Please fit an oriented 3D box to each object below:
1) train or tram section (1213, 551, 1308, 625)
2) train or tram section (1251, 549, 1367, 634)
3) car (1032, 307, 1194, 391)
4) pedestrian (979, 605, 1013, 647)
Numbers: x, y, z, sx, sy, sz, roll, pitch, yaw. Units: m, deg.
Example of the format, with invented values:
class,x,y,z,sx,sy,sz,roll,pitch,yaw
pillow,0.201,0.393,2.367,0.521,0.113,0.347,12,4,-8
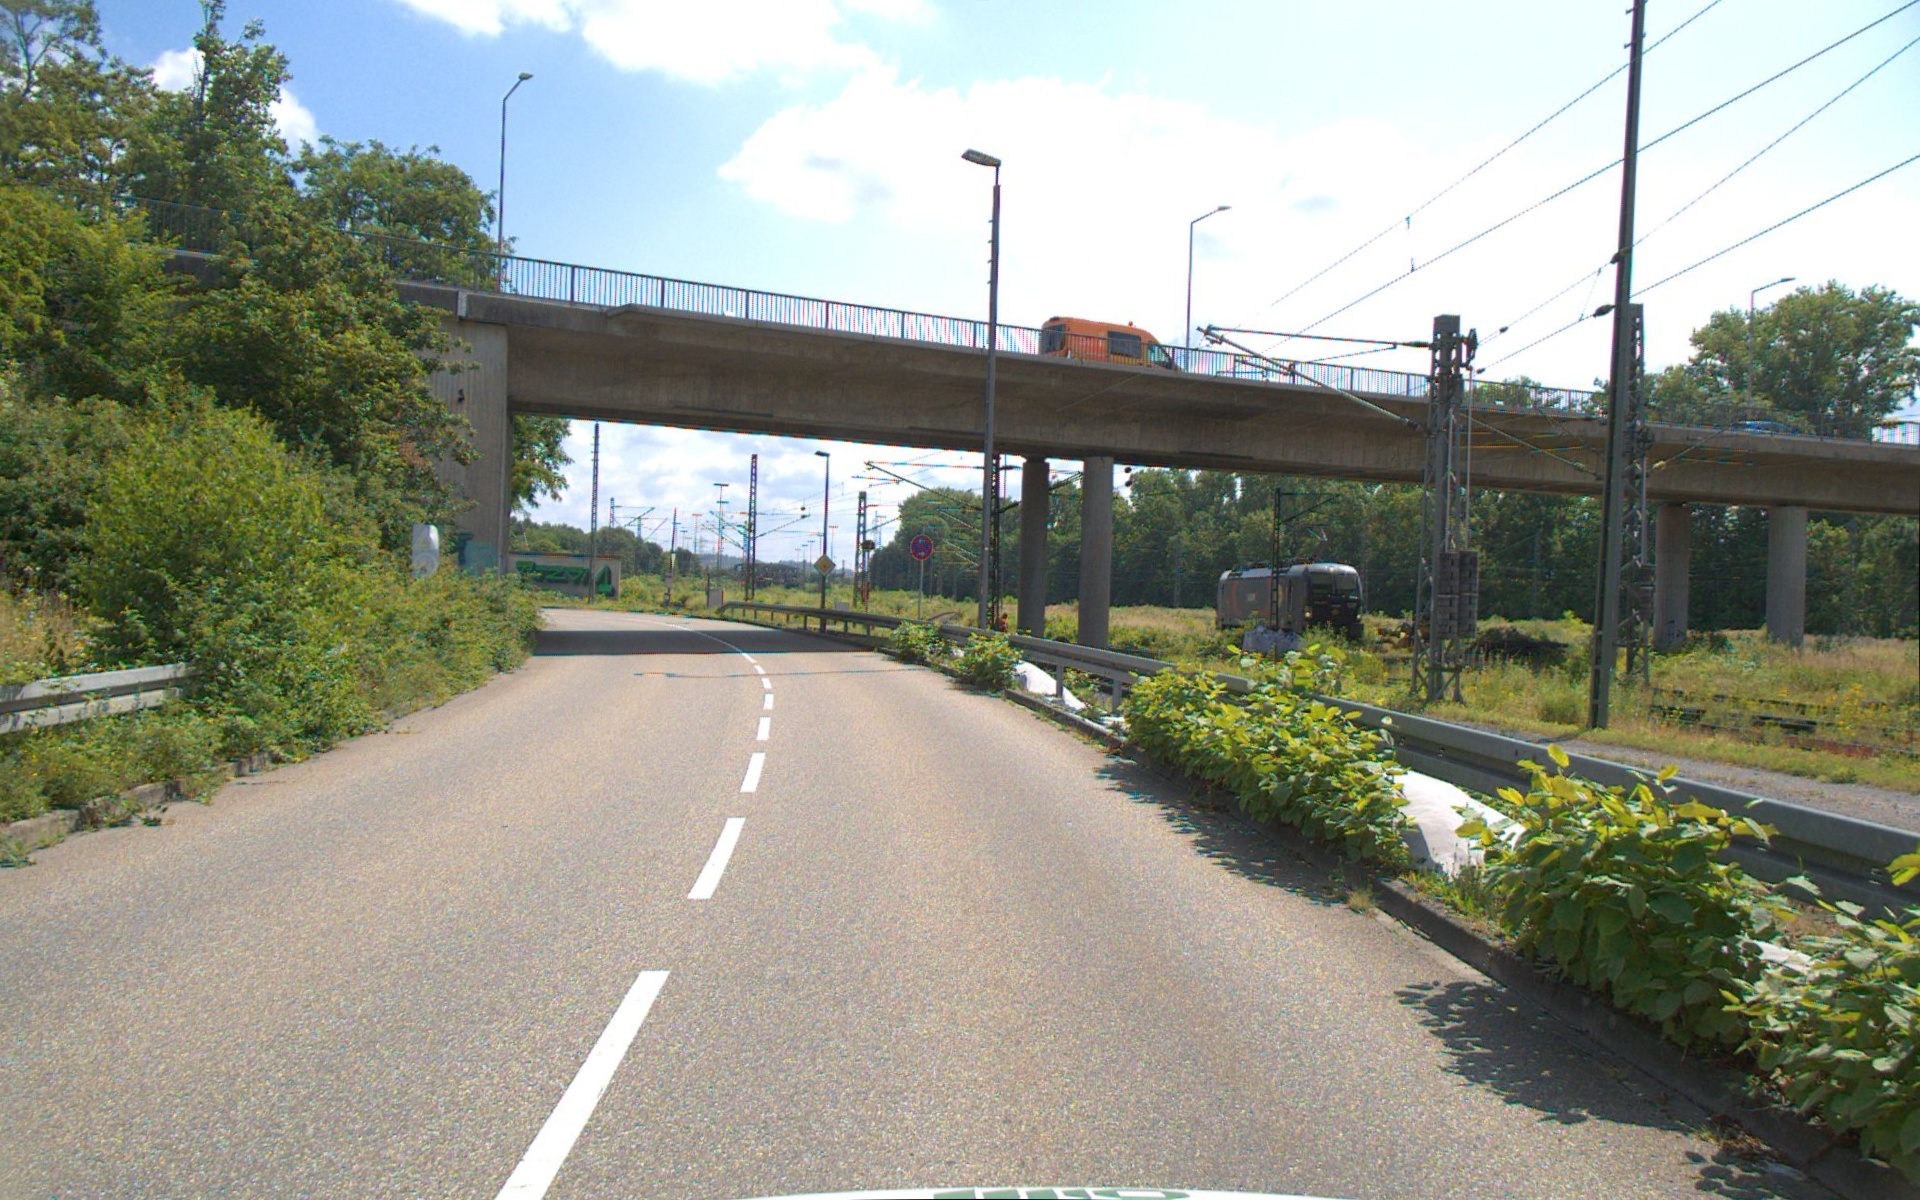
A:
class,x,y,z,sx,sy,sz,roll,pitch,yaw
train or tram section,15.173,-0.550,84.103,2.702,3.538,8.231,2,0,-4
train or tram section,15.853,-0.337,75.724,2.834,3.570,8.557,2,0,-4
car,5.075,-8.220,54.532,5.271,2.049,1.977,0,-1,-34
pedestrian,1.393,1.006,64.682,1.089,1.567,1.577,2,-1,-7
